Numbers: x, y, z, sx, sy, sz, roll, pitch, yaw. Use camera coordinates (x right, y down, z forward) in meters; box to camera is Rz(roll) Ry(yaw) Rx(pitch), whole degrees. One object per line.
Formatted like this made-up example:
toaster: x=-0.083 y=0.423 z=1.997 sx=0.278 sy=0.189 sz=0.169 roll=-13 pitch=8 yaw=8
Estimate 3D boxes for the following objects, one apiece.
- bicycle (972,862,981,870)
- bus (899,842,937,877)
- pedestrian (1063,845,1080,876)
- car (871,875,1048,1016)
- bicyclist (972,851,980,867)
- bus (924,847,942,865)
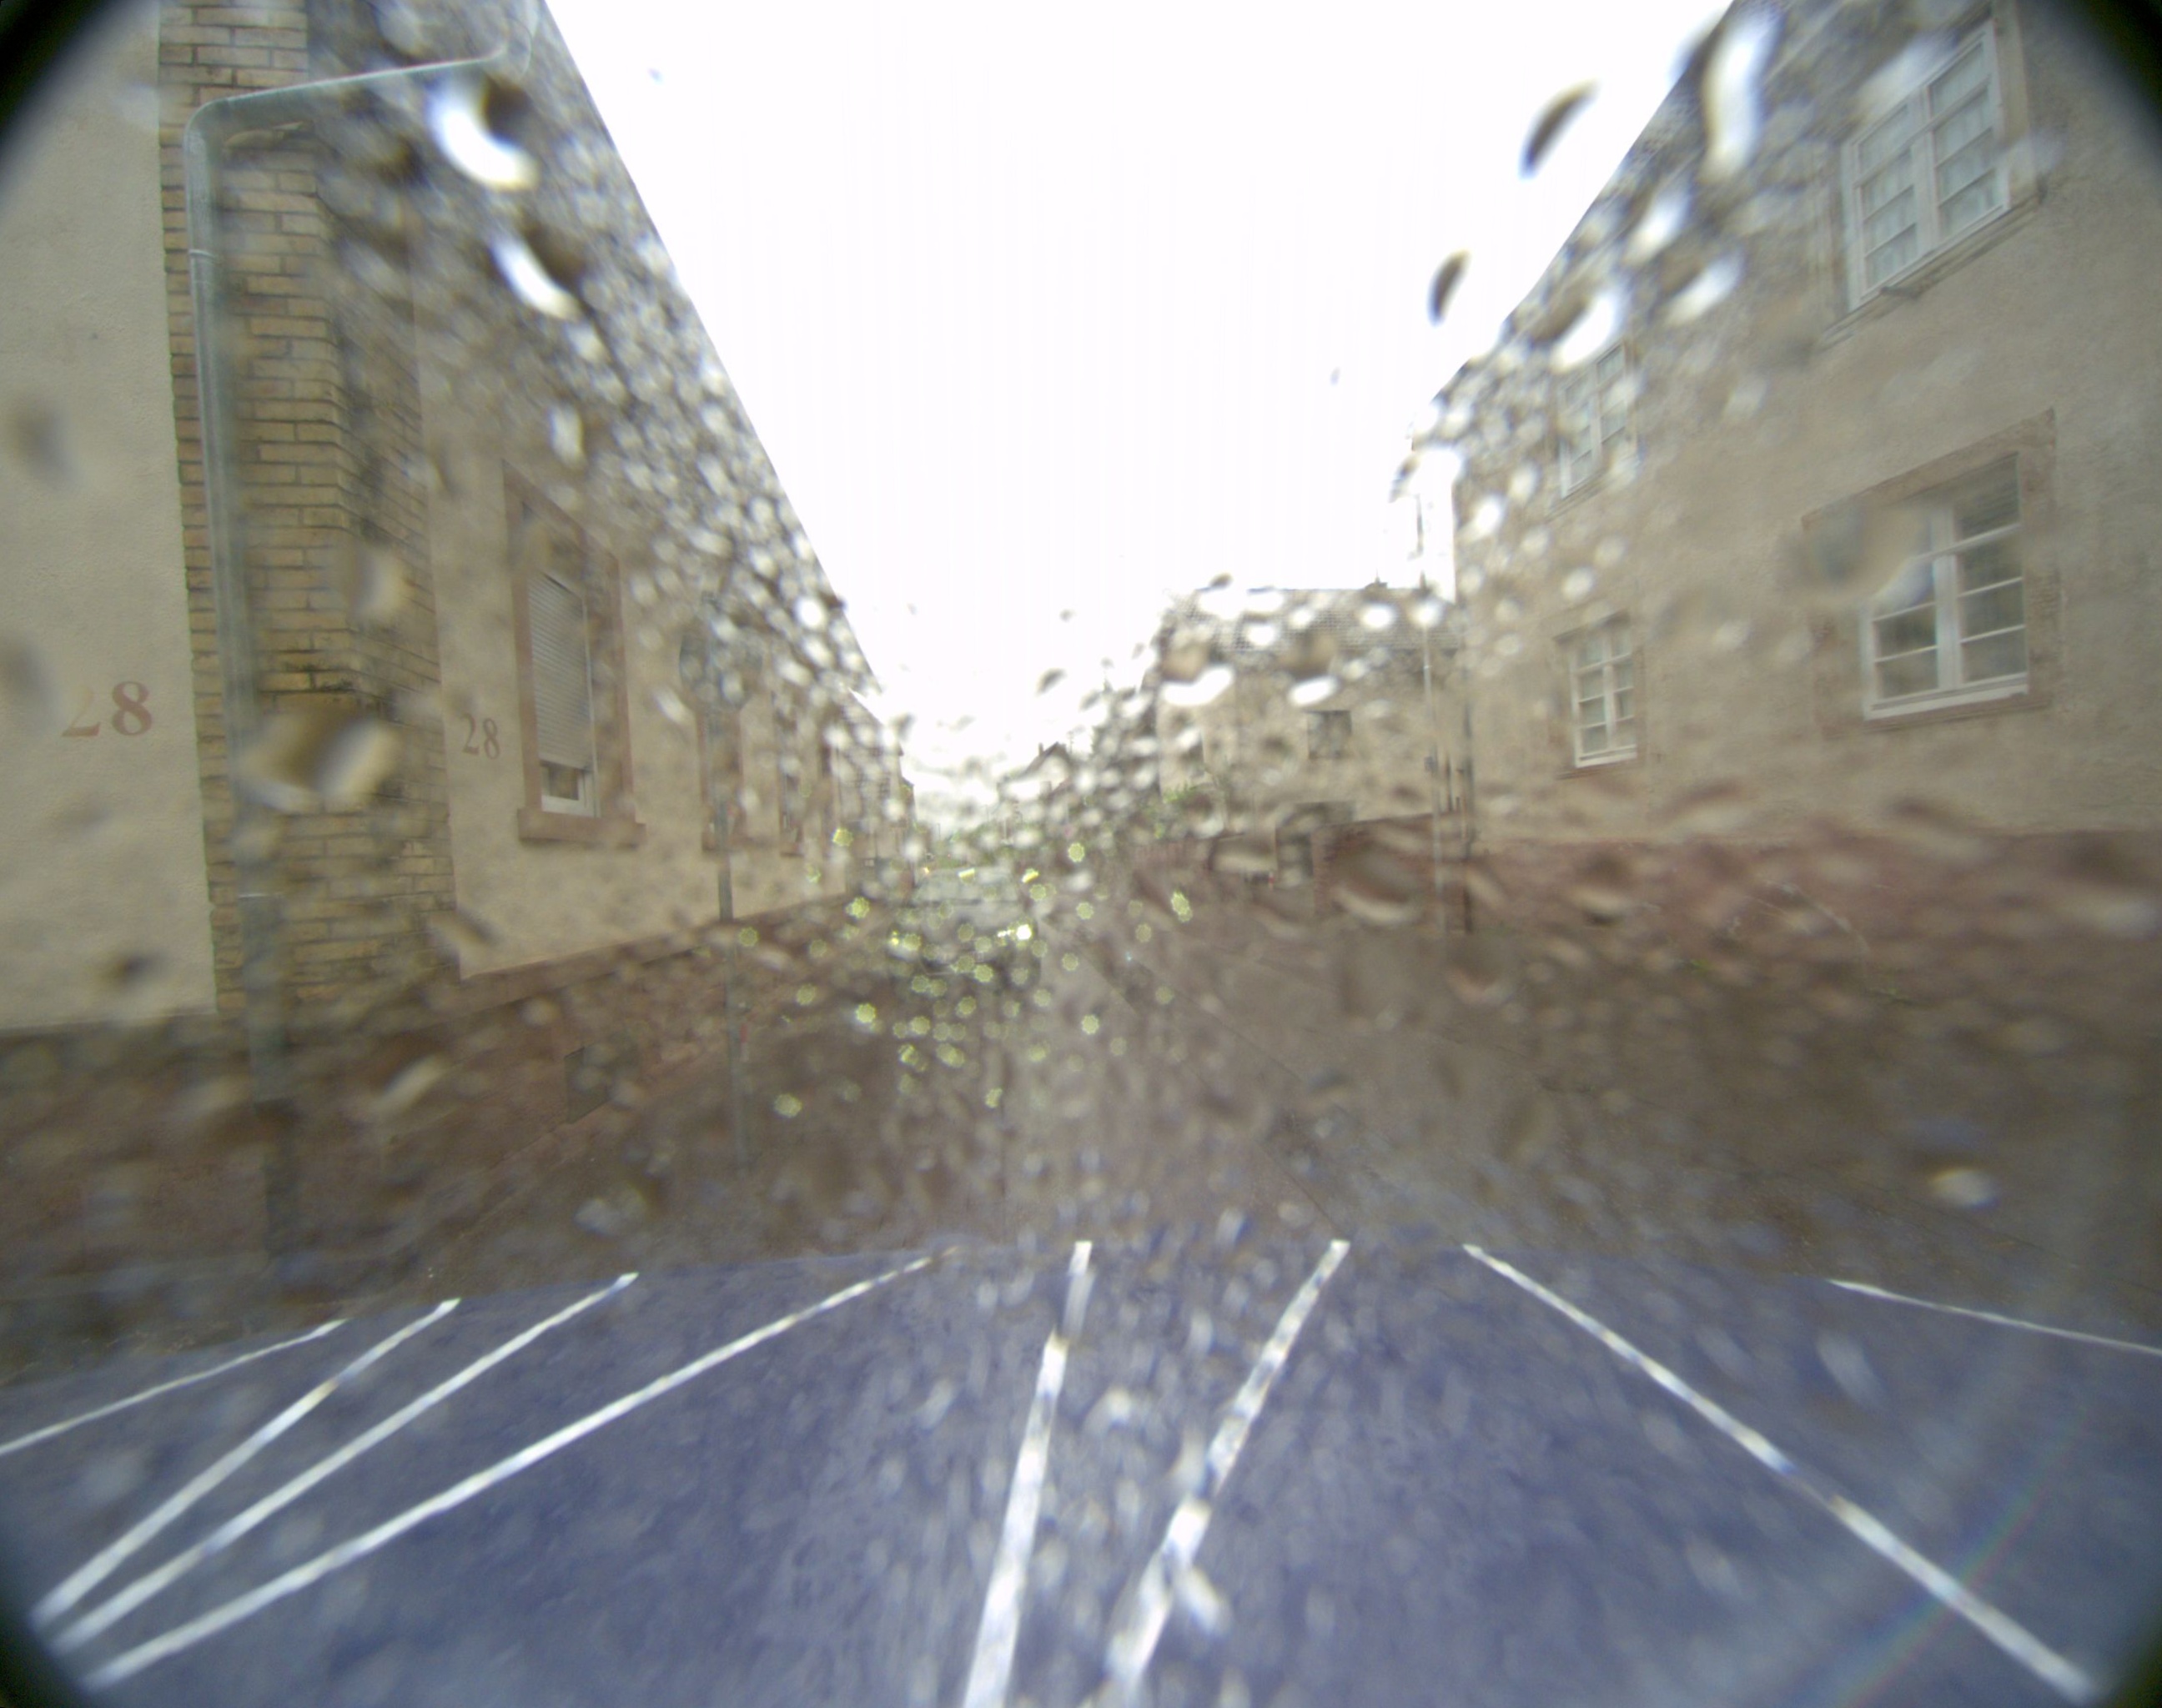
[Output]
bicycle: x=-12.152 y=1.377 z=88.236 sx=0.664 sy=0.865 sz=1.932 roll=-5 pitch=-1 yaw=-18
bus: x=-18.625 y=0.594 z=86.202 sx=3.444 sy=3.392 sz=13.853 roll=-4 pitch=1 yaw=-14
pedestrian: x=-0.546 y=0.344 z=43.465 sx=0.697 sy=1.722 sz=0.820 roll=-4 pitch=1 yaw=-15
car: x=-1.598 y=1.047 z=10.309 sx=1.781 sy=1.348 sz=4.186 roll=-5 pitch=-1 yaw=-8
bicyclist: x=-12.200 y=0.540 z=88.128 sx=0.659 sy=1.759 sz=0.702 roll=-5 pitch=-1 yaw=-19
bus: x=-25.902 y=0.379 z=133.270 sx=2.816 sy=2.922 sz=11.930 roll=-5 pitch=1 yaw=-11
